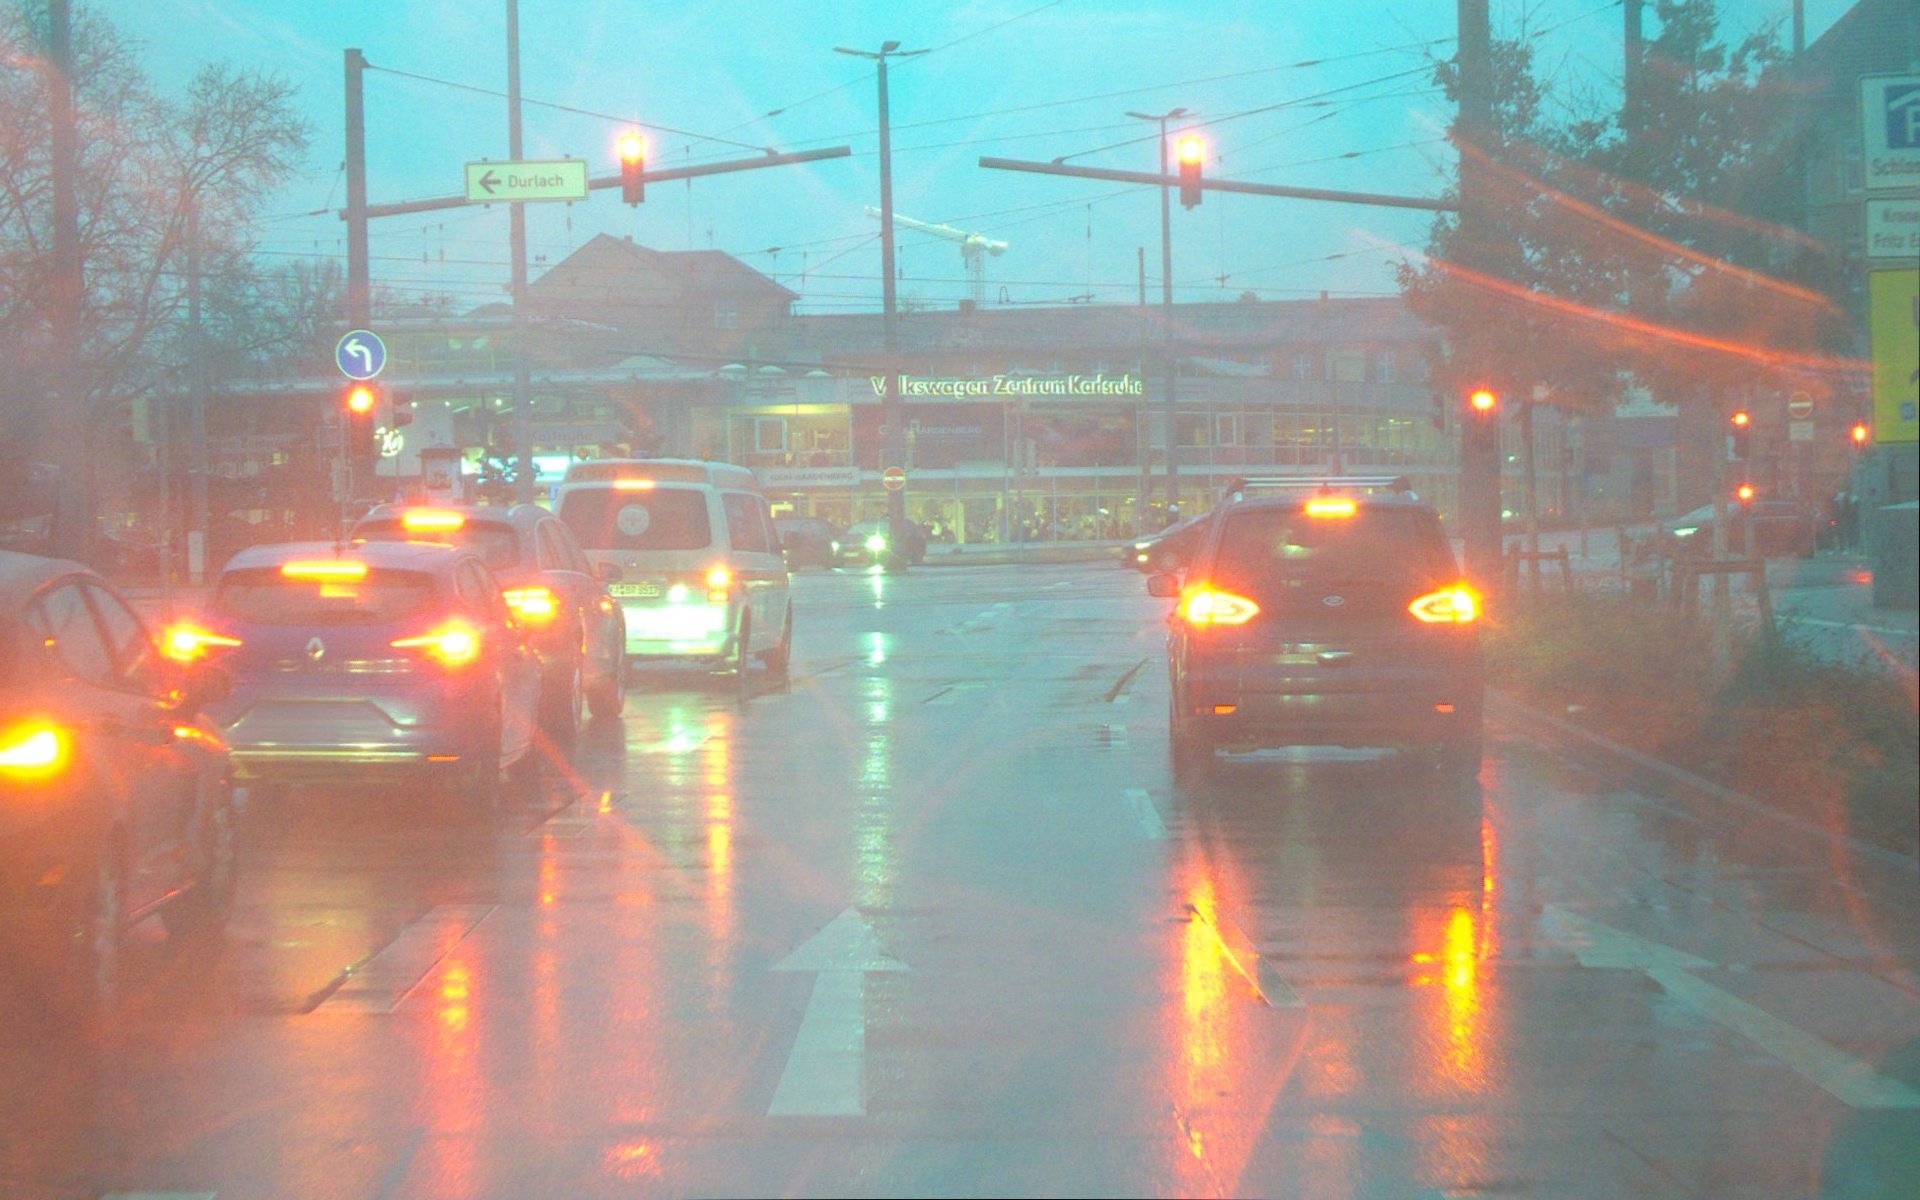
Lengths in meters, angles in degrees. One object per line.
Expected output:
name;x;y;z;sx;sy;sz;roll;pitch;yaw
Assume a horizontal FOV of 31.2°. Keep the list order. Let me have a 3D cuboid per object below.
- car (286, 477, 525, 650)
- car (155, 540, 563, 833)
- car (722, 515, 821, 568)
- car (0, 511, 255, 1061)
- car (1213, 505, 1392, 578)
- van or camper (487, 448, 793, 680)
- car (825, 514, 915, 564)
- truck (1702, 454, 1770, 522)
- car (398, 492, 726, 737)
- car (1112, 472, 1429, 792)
car;-5.964;-0.417;37.434;1.885;1.766;4.000;0;1;1
car;-3.186;0.389;18.935;1.659;1.399;4.121;1;1;-2
car;-5.381;-1.676;98.392;1.814;1.441;3.998;-1;1;12
car;-3.444;0.448;11.237;1.700;1.476;3.873;2;1;-4
car;7.671;-1.310;76.790;1.998;1.509;3.991;0;2;42
van or camper;-3.044;-0.380;33.797;2.202;2.102;4.987;0;1;4
car;-2.716;-1.871;104.915;1.814;1.441;3.998;-1;1;12
truck;31.549;-4.548;139.735;1.995;2.682;5.110;-1;1;20
car;-2.820;0.052;25.282;1.785;1.595;4.541;1;1;1
car;1.930;0.112;21.552;1.778;1.794;4.424;0;2;5
